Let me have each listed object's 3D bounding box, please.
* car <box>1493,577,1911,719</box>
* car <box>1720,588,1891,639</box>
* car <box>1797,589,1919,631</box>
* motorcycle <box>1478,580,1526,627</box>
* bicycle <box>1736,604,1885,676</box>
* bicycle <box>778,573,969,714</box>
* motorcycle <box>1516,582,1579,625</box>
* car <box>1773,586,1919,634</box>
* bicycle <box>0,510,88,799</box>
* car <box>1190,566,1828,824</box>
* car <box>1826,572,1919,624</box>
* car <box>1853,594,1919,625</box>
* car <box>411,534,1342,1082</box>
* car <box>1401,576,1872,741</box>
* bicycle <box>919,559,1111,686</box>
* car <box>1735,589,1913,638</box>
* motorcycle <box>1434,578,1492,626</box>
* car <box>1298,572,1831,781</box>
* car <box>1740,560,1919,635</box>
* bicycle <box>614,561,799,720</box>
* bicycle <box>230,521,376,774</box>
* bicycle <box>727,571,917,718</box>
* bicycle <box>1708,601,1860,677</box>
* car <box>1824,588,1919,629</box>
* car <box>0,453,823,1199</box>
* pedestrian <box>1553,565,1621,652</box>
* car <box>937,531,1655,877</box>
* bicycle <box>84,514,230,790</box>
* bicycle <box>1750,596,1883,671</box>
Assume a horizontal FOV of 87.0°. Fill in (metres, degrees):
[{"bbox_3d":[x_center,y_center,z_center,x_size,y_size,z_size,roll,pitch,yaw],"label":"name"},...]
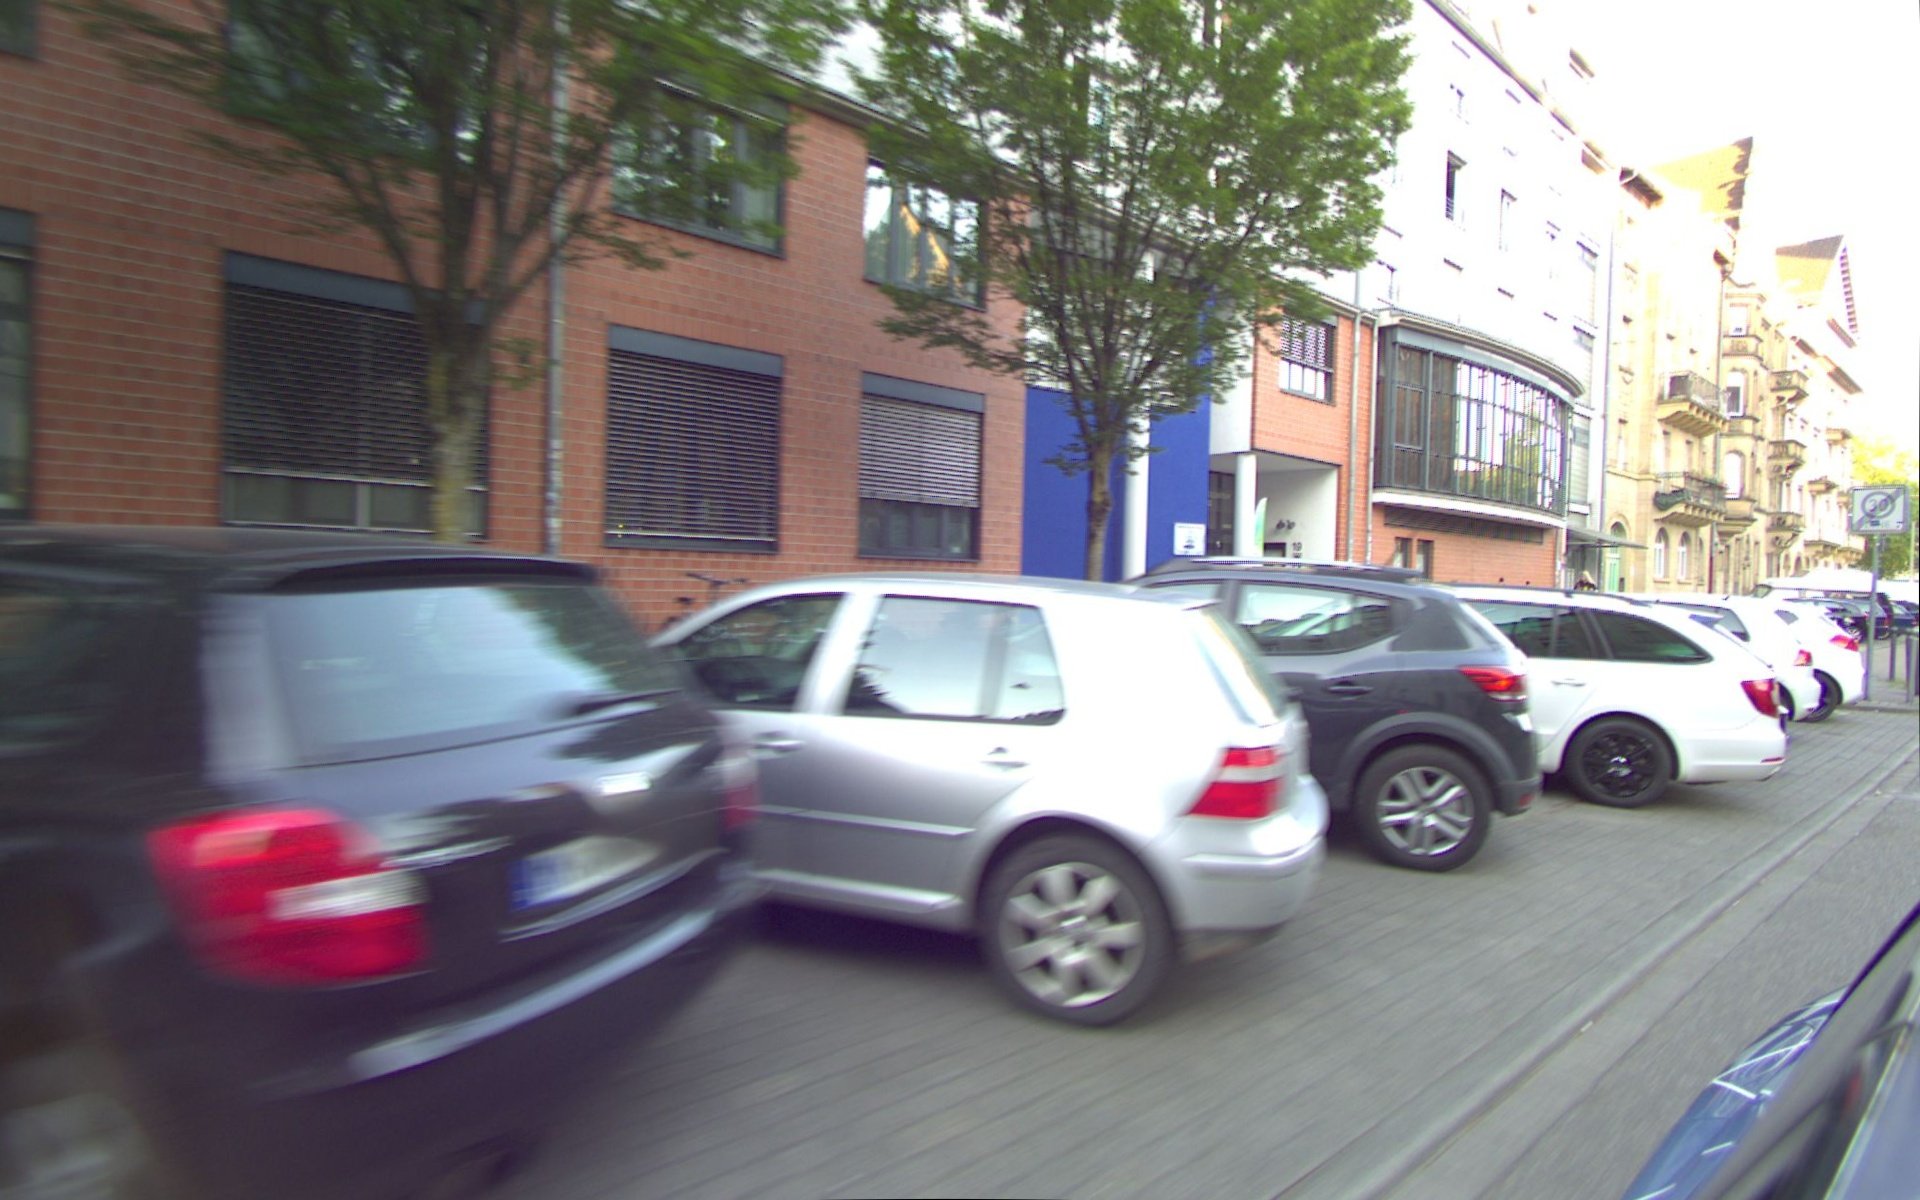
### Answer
[{"bbox_3d":[9.269,0.519,13.081,3.951,1.525,1.759,2,1,20],"label":"car"},{"bbox_3d":[28.476,0.419,34.243,4.017,1.510,1.714,2,1,19],"label":"car"},{"bbox_3d":[40.084,0.438,44.964,3.999,1.516,1.747,4,3,14],"label":"car"},{"bbox_3d":[14.463,0.075,26.953,0.773,1.153,2.385,4,3,35],"label":"motorcycle"},{"bbox_3d":[14.498,0.656,17.296,0.464,1.051,1.861,1,3,-42],"label":"bicycle"},{"bbox_3d":[-0.927,0.352,9.952,0.552,1.181,2.541,1,2,-38],"label":"bicycle"},{"bbox_3d":[16.781,0.095,28.865,2.398,1.153,0.801,0,4,-42],"label":"motorcycle"},{"bbox_3d":[34.557,0.389,39.148,4.343,1.504,1.833,4,3,19],"label":"car"},{"bbox_3d":[-5.490,0.219,5.814,0.588,1.396,2.541,1,2,-38],"label":"bicycle"},{"bbox_3d":[3.895,0.576,7.878,3.948,1.556,1.626,2,1,19],"label":"car"},{"bbox_3d":[50.959,-0.081,54.740,5.788,2.582,2.192,3,4,9],"label":"car"},{"bbox_3d":[49.407,0.537,52.430,4.188,1.471,1.994,3,3,11],"label":"car"},{"bbox_3d":[-0.304,0.529,4.309,3.563,1.500,1.710,2,1,22],"label":"car"},{"bbox_3d":[7.277,0.540,11.406,3.945,1.491,1.867,2,3,17],"label":"car"},{"bbox_3d":[0.532,0.185,11.098,0.667,1.112,2.354,1,5,-38],"label":"bicycle"},{"bbox_3d":[30.396,0.432,35.775,4.305,1.521,1.900,2,1,22],"label":"car"},{"bbox_3d":[12.653,0.044,25.423,2.050,1.116,0.589,0,4,-45],"label":"motorcycle"},{"bbox_3d":[5.282,0.570,9.502,3.948,1.541,1.700,2,3,19],"label":"car"},{"bbox_3d":[32.155,-0.136,37.542,4.667,2.578,1.906,2,2,21],"label":"car"},{"bbox_3d":[-2.270,0.269,8.761,0.552,1.181,2.541,1,2,-38],"label":"bicycle"},{"bbox_3d":[-4.462,0.219,6.783,0.588,1.396,2.541,1,2,-38],"label":"bicycle"},{"bbox_3d":[-1.378,0.341,9.512,0.552,1.181,2.541,1,2,-38],"label":"bicycle"},{"bbox_3d":[13.644,0.613,16.815,0.438,1.079,1.861,1,3,-42],"label":"bicycle"},{"bbox_3d":[42.714,0.424,46.528,4.035,1.627,1.811,4,3,12],"label":"car"},{"bbox_3d":[-2.334,0.495,2.818,3.563,1.553,1.552,2,1,22],"label":"car"},{"bbox_3d":[15.436,0.203,24.936,0.842,2.029,0.611,0,20,-40],"label":"pedestrian"},{"bbox_3d":[1.815,0.446,6.163,3.556,1.600,1.707,2,1,17],"label":"car"},{"bbox_3d":[-4.970,0.220,6.297,0.588,1.396,2.541,1,2,-38],"label":"bicycle"},{"bbox_3d":[15.259,0.570,18.076,0.464,1.190,1.711,1,3,-42],"label":"bicycle"}]
